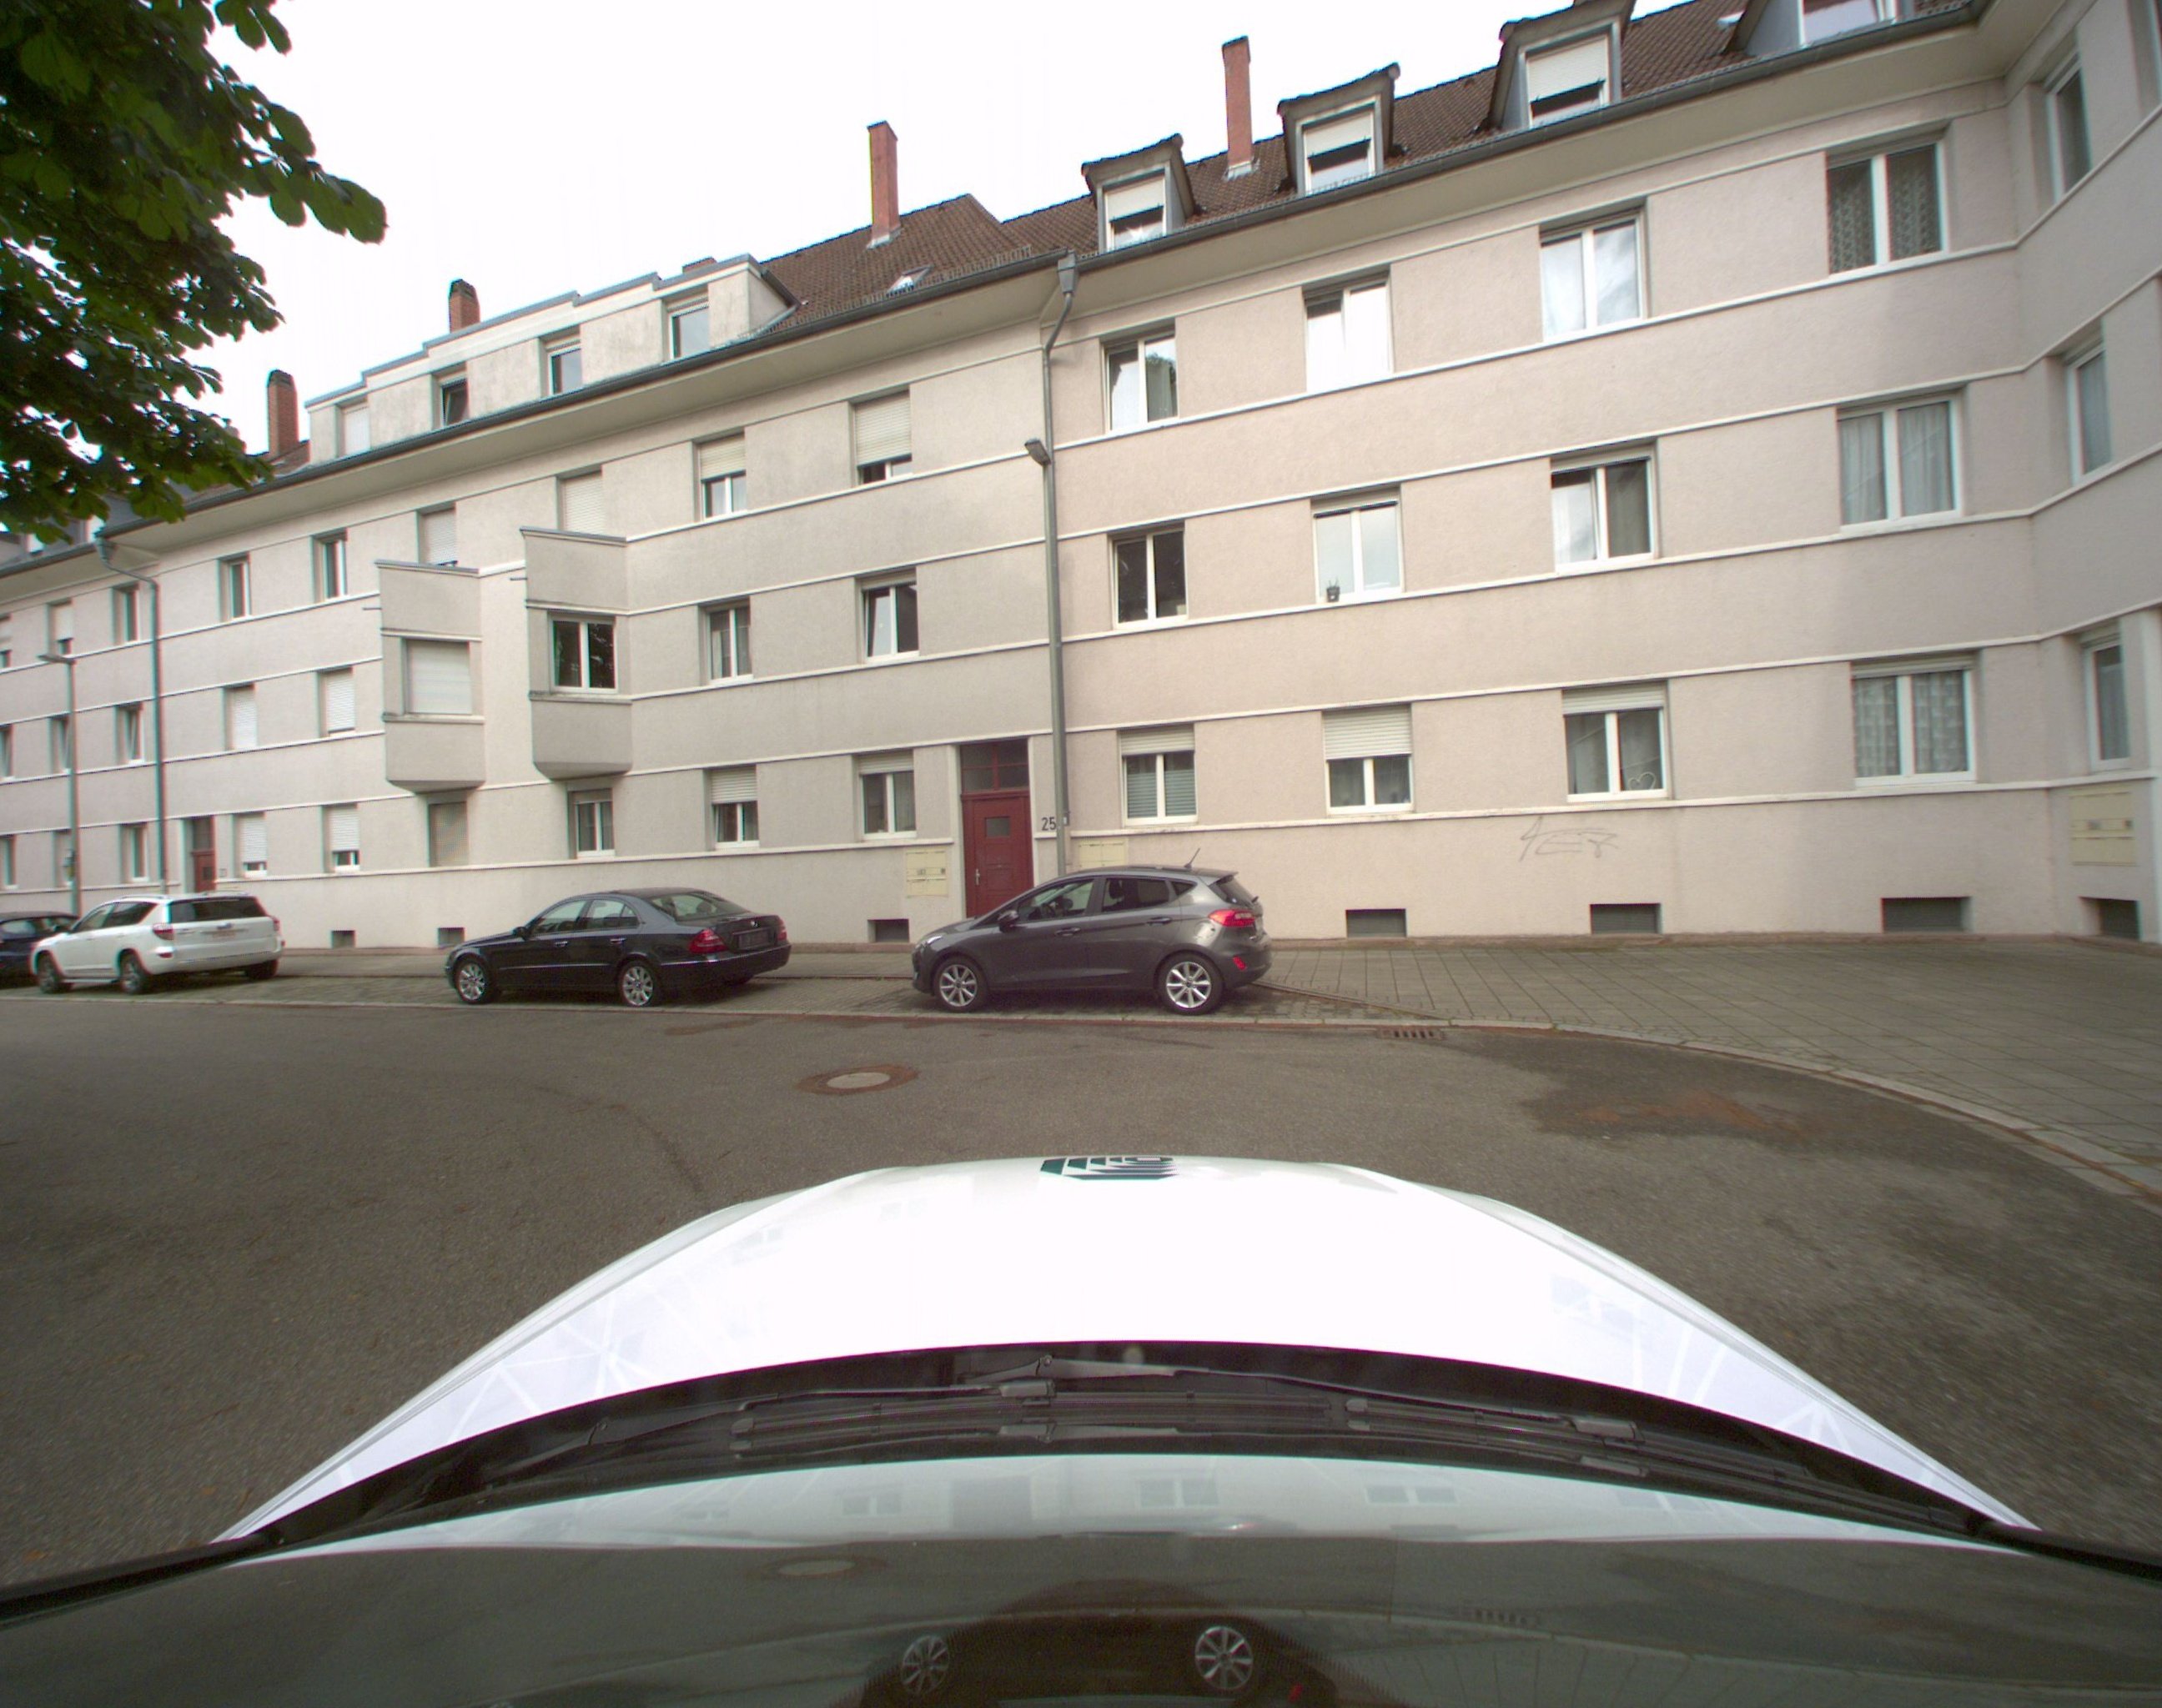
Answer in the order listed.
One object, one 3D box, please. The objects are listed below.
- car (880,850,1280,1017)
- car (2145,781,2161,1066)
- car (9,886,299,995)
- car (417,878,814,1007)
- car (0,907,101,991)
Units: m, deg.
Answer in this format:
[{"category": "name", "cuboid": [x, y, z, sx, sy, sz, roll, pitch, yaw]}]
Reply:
[{"category": "car", "cuboid": [0.045, 0.816, 9.078, 4.033, 1.525, 1.771, -2, 1, 18]}, {"category": "car", "cuboid": [4.739, 0.469, 1.302, 1.741, 1.627, 4.222, -3, -1, 22]}, {"category": "car", "cuboid": [-16.951, 1.549, 14.934, 4.241, 1.673, 1.857, -2, 1, 17]}, {"category": "car", "cuboid": [-6.300, 1.146, 11.071, 4.894, 1.420, 1.759, -2, 1, 17]}, {"category": "car", "cuboid": [-22.105, 1.914, 16.525, 3.825, 1.478, 1.580, -3, 0, 20]}]
